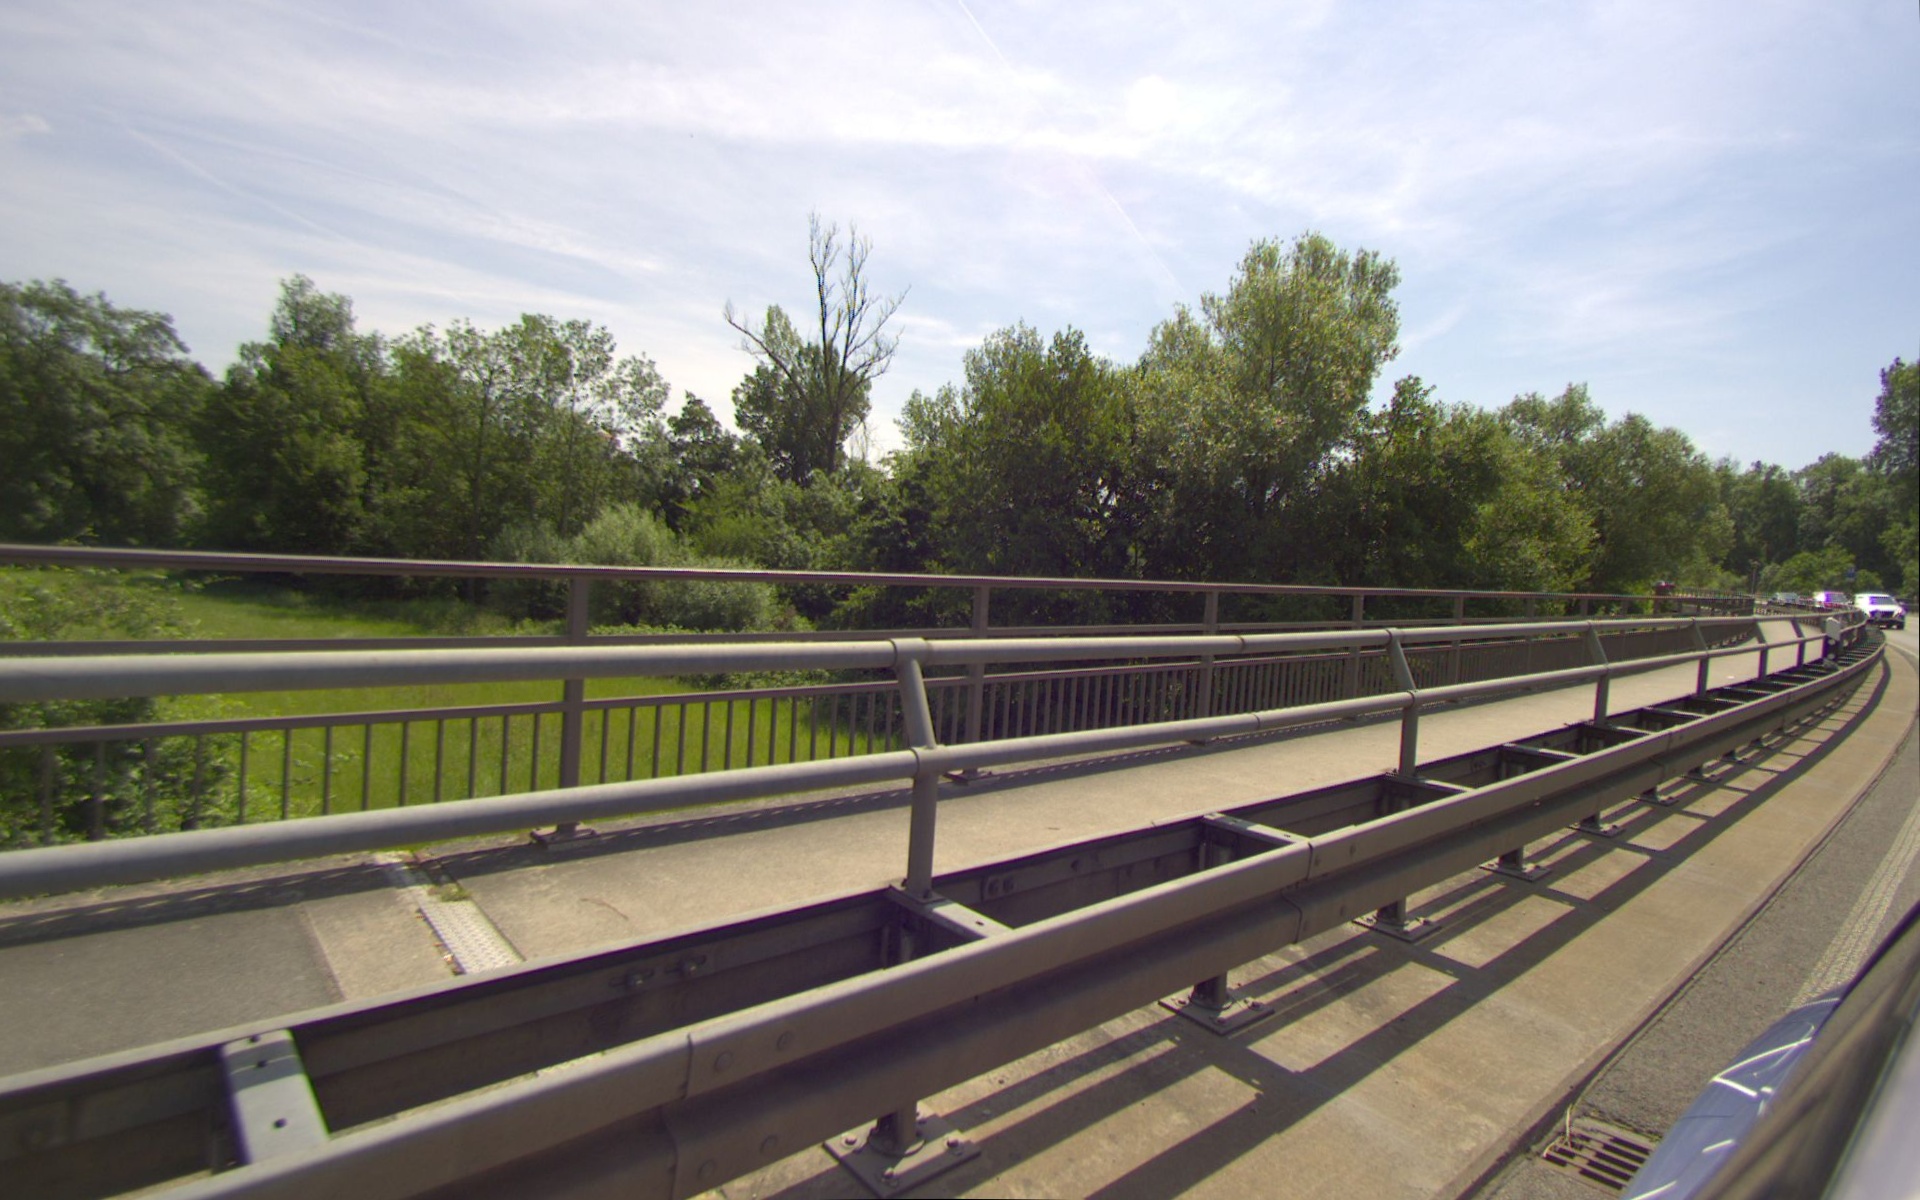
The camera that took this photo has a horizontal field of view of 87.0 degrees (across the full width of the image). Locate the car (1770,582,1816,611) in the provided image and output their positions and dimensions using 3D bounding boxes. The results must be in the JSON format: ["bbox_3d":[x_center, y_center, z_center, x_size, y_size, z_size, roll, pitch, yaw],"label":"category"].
[{"bbox_3d":[59.387,-0.271,72.195,1.984,2.039,3.956,0,1,31],"label":"car"}]

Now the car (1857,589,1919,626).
[{"bbox_3d":[44.501,0.306,48.446,1.898,1.668,3.900,0,1,35],"label":"car"}]

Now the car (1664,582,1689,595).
[{"bbox_3d":[85.970,-1.345,121.465,1.806,1.542,3.915,1,1,26],"label":"car"}]

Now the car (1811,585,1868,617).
[{"bbox_3d":[51.774,0.008,59.658,1.985,1.798,3.954,0,1,33],"label":"car"}]
